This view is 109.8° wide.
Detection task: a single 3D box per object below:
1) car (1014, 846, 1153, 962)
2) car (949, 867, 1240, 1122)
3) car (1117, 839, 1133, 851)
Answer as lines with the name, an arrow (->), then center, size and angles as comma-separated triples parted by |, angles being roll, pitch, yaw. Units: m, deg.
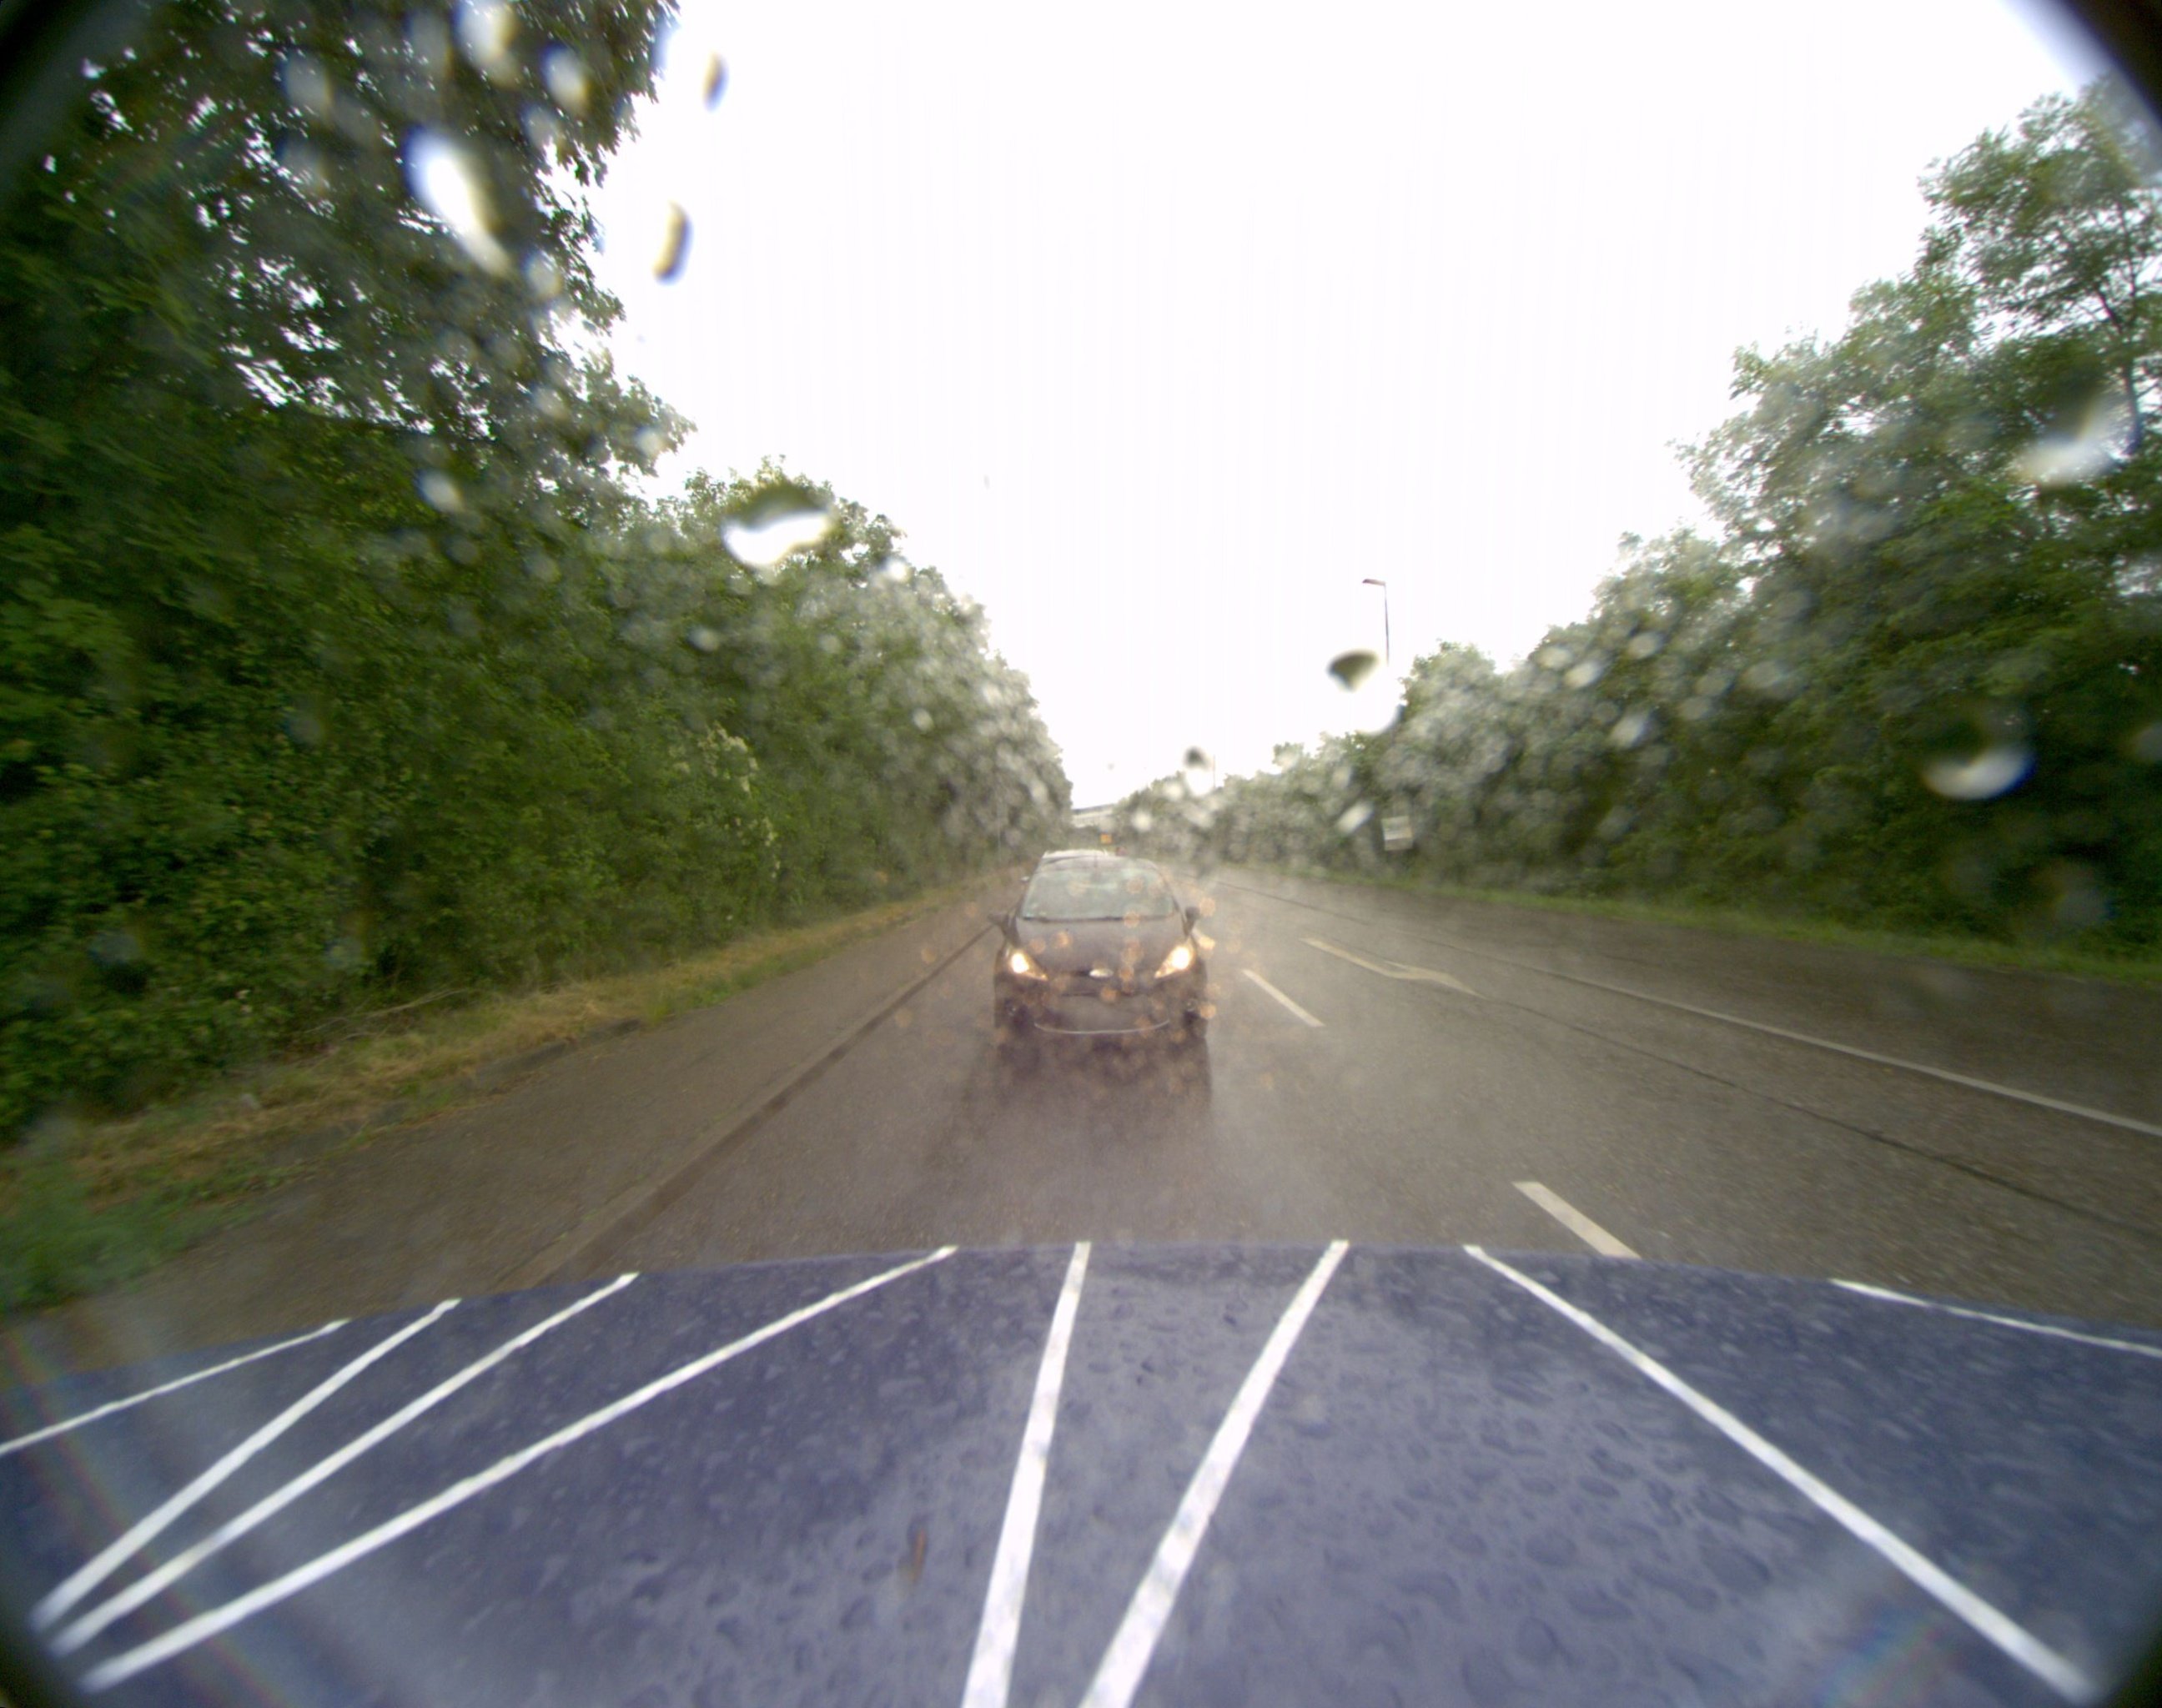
car -> 0.063, 0.714, 13.171 | 1.998, 1.576, 3.999 | -2, 2, 1
car -> 0.118, 0.950, 7.082 | 1.839, 1.404, 4.341 | -2, 2, 1
car -> 5.979, -1.232, 103.927 | 1.998, 1.576, 3.999 | -2, 2, 1
